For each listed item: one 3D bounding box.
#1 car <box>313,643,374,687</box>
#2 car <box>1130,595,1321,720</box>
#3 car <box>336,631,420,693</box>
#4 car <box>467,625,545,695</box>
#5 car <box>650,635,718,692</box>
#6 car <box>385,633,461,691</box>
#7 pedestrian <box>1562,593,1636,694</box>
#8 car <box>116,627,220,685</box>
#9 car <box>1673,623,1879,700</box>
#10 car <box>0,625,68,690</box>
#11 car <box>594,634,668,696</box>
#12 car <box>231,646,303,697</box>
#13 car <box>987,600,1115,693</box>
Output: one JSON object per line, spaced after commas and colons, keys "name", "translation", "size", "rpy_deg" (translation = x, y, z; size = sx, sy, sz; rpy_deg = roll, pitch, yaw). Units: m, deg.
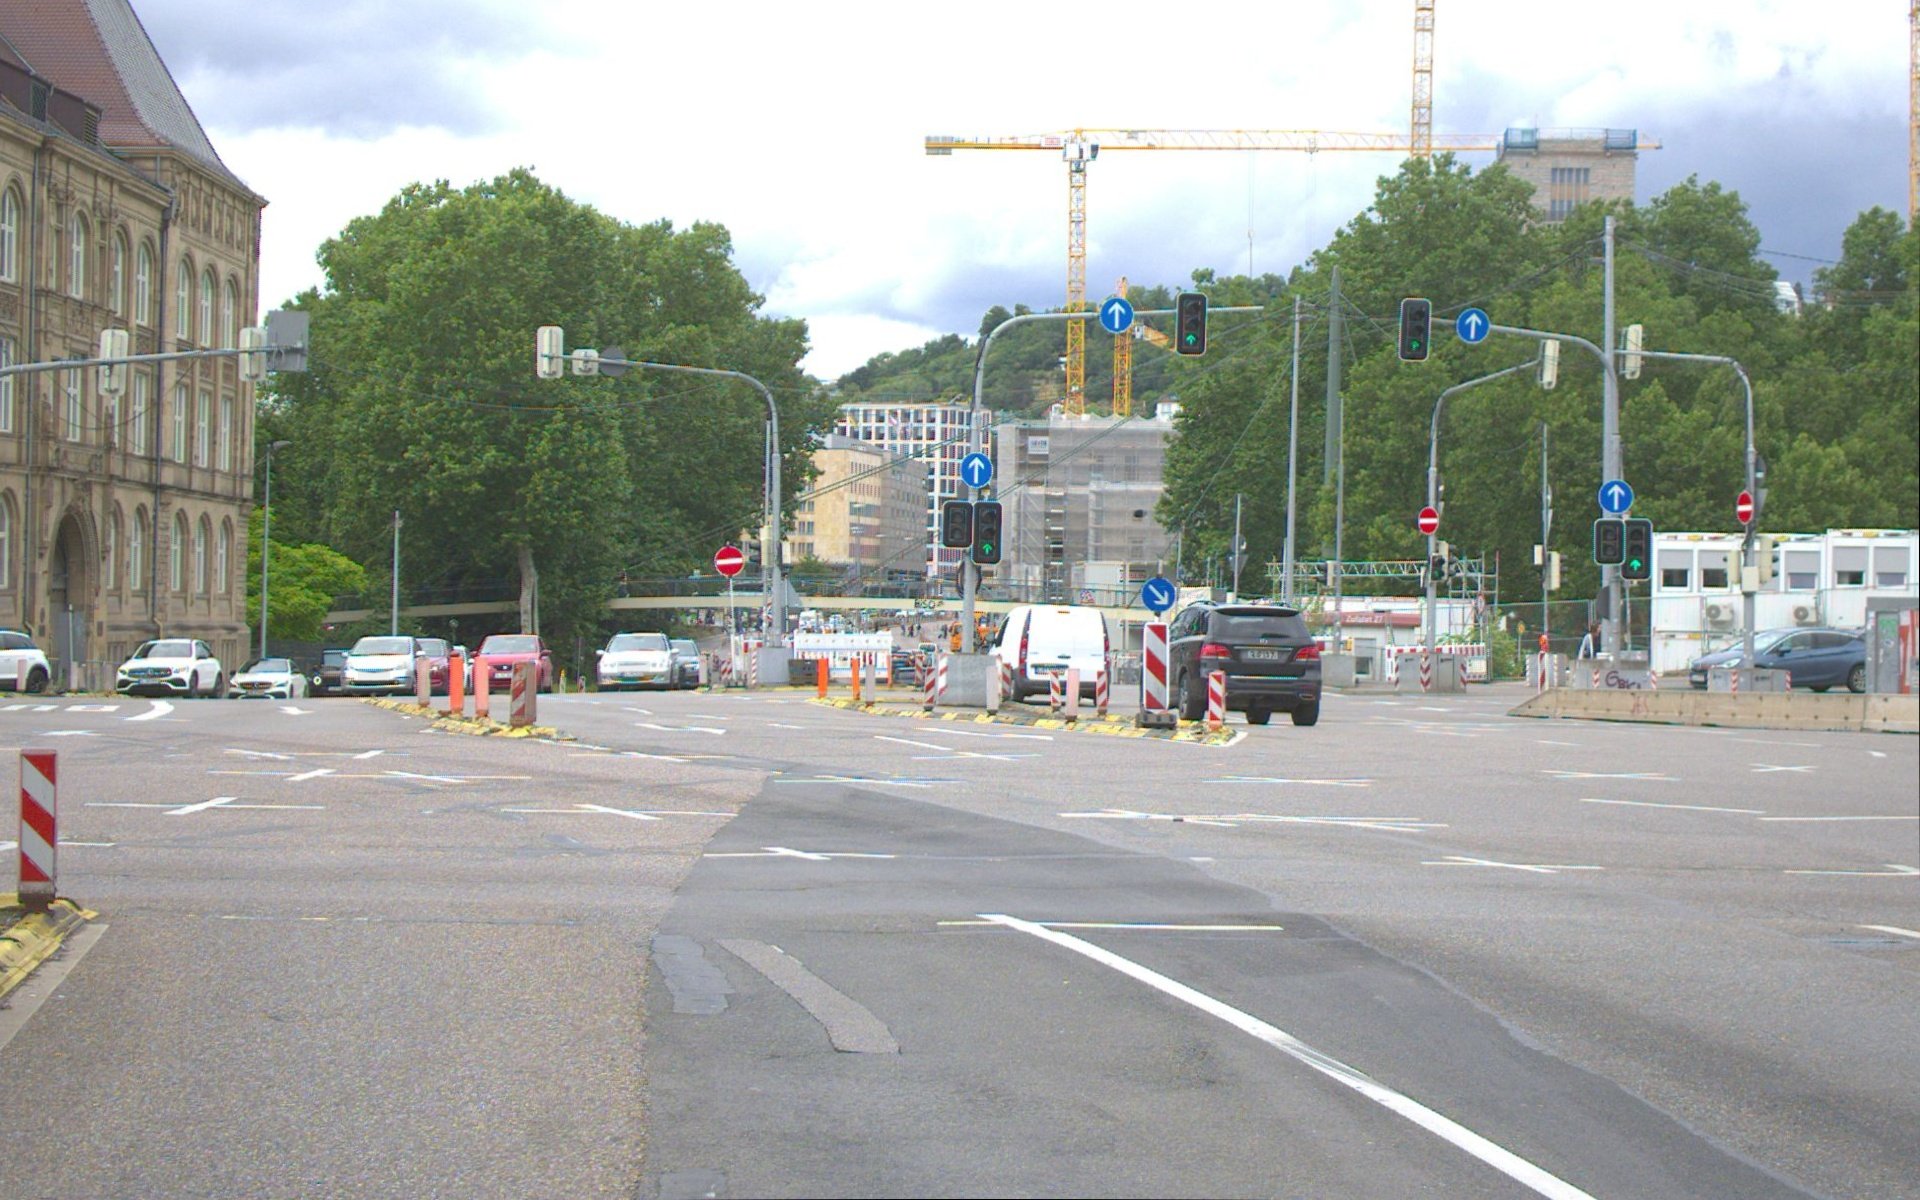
{"name": "car", "translation": [-20.411, 2.133, 113.932], "size": [1.675, 1.393, 3.683], "rpy_deg": [1, 0, -5]}
{"name": "car", "translation": [3.812, 0.807, 50.028], "size": [1.831, 1.740, 4.256], "rpy_deg": [1, 0, -9]}
{"name": "car", "translation": [-13.814, 1.453, 81.736], "size": [1.675, 1.393, 3.683], "rpy_deg": [1, 0, -5]}
{"name": "car", "translation": [-10.640, 1.391, 80.760], "size": [1.675, 1.575, 3.683], "rpy_deg": [1, 0, -5]}
{"name": "car", "translation": [-7.087, 1.608, 87.965], "size": [1.675, 1.393, 3.683], "rpy_deg": [1, 0, -5]}
{"name": "car", "translation": [-13.705, 1.569, 87.895], "size": [1.675, 1.393, 3.683], "rpy_deg": [1, 0, -5]}
{"name": "pedestrian", "translation": [12.786, 0.863, 68.845], "size": [1.094, 2.007, 1.185], "rpy_deg": [1, 0, -11]}
{"name": "car", "translation": [-19.702, 1.374, 85.605], "size": [1.676, 1.393, 3.683], "rpy_deg": [1, 0, 1]}
{"name": "car", "translation": [17.844, 1.345, 75.215], "size": [3.986, 1.619, 1.823], "rpy_deg": [1, 0, -18]}
{"name": "car", "translation": [-21.564, 1.268, 76.406], "size": [1.677, 1.393, 3.680], "rpy_deg": [0, 0, 17]}
{"name": "car", "translation": [-7.734, 1.510, 80.919], "size": [1.675, 1.393, 3.683], "rpy_deg": [1, 0, -5]}
{"name": "car", "translation": [-20.010, 2.048, 99.373], "size": [1.675, 1.393, 3.683], "rpy_deg": [1, 0, -5]}
{"name": "car", "translation": [1.633, 0.826, 62.875], "size": [1.816, 1.619, 4.001], "rpy_deg": [1, 0, -6]}
